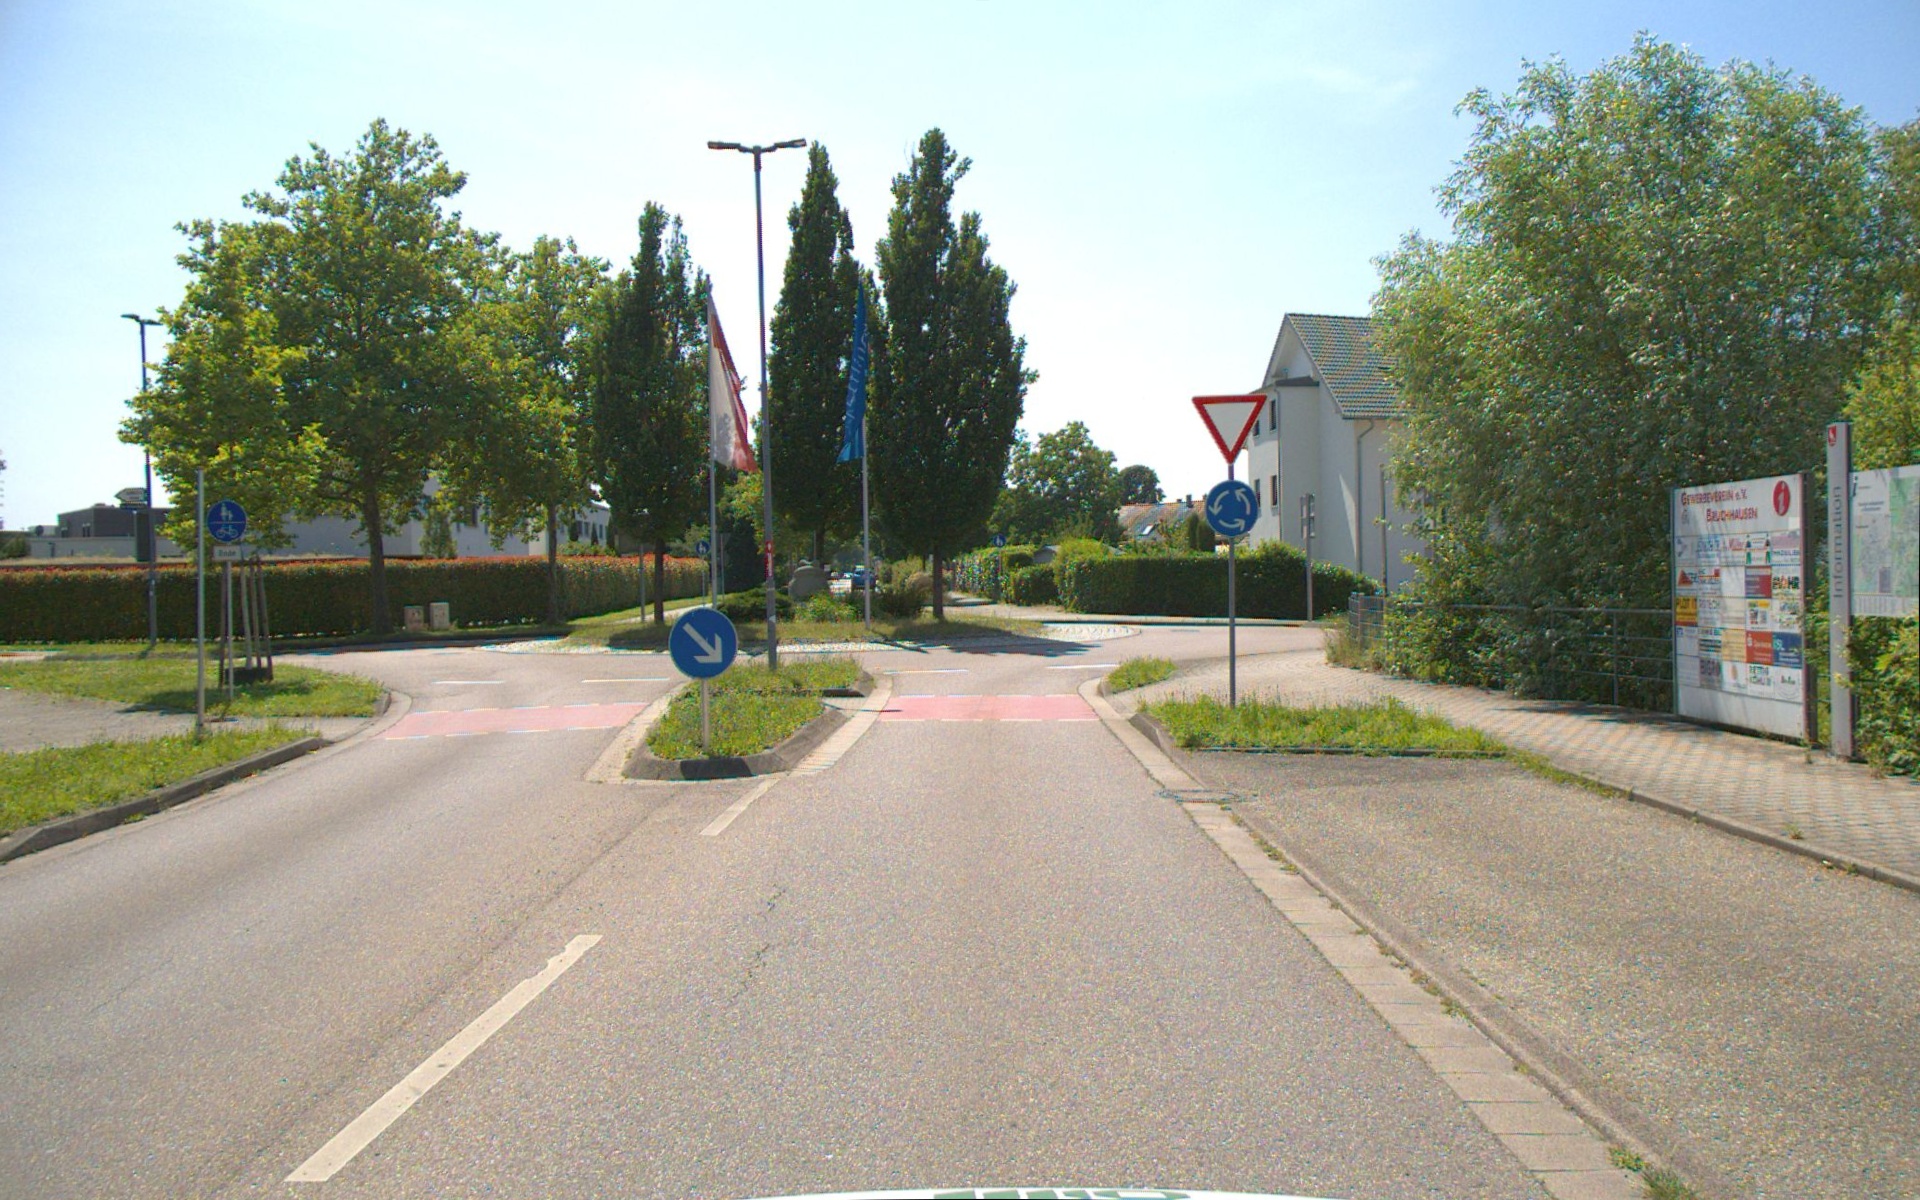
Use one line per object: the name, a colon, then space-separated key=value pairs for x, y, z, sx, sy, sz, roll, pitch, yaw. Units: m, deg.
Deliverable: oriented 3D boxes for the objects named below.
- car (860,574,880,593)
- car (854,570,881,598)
car: x=-8.609 y=-1.531 z=158.528 sx=1.954 sy=1.801 sz=3.998 roll=0 pitch=0 yaw=-3
car: x=-6.581 y=-1.121 z=117.464 sx=1.885 sy=1.919 sz=3.997 roll=0 pitch=0 yaw=-4
